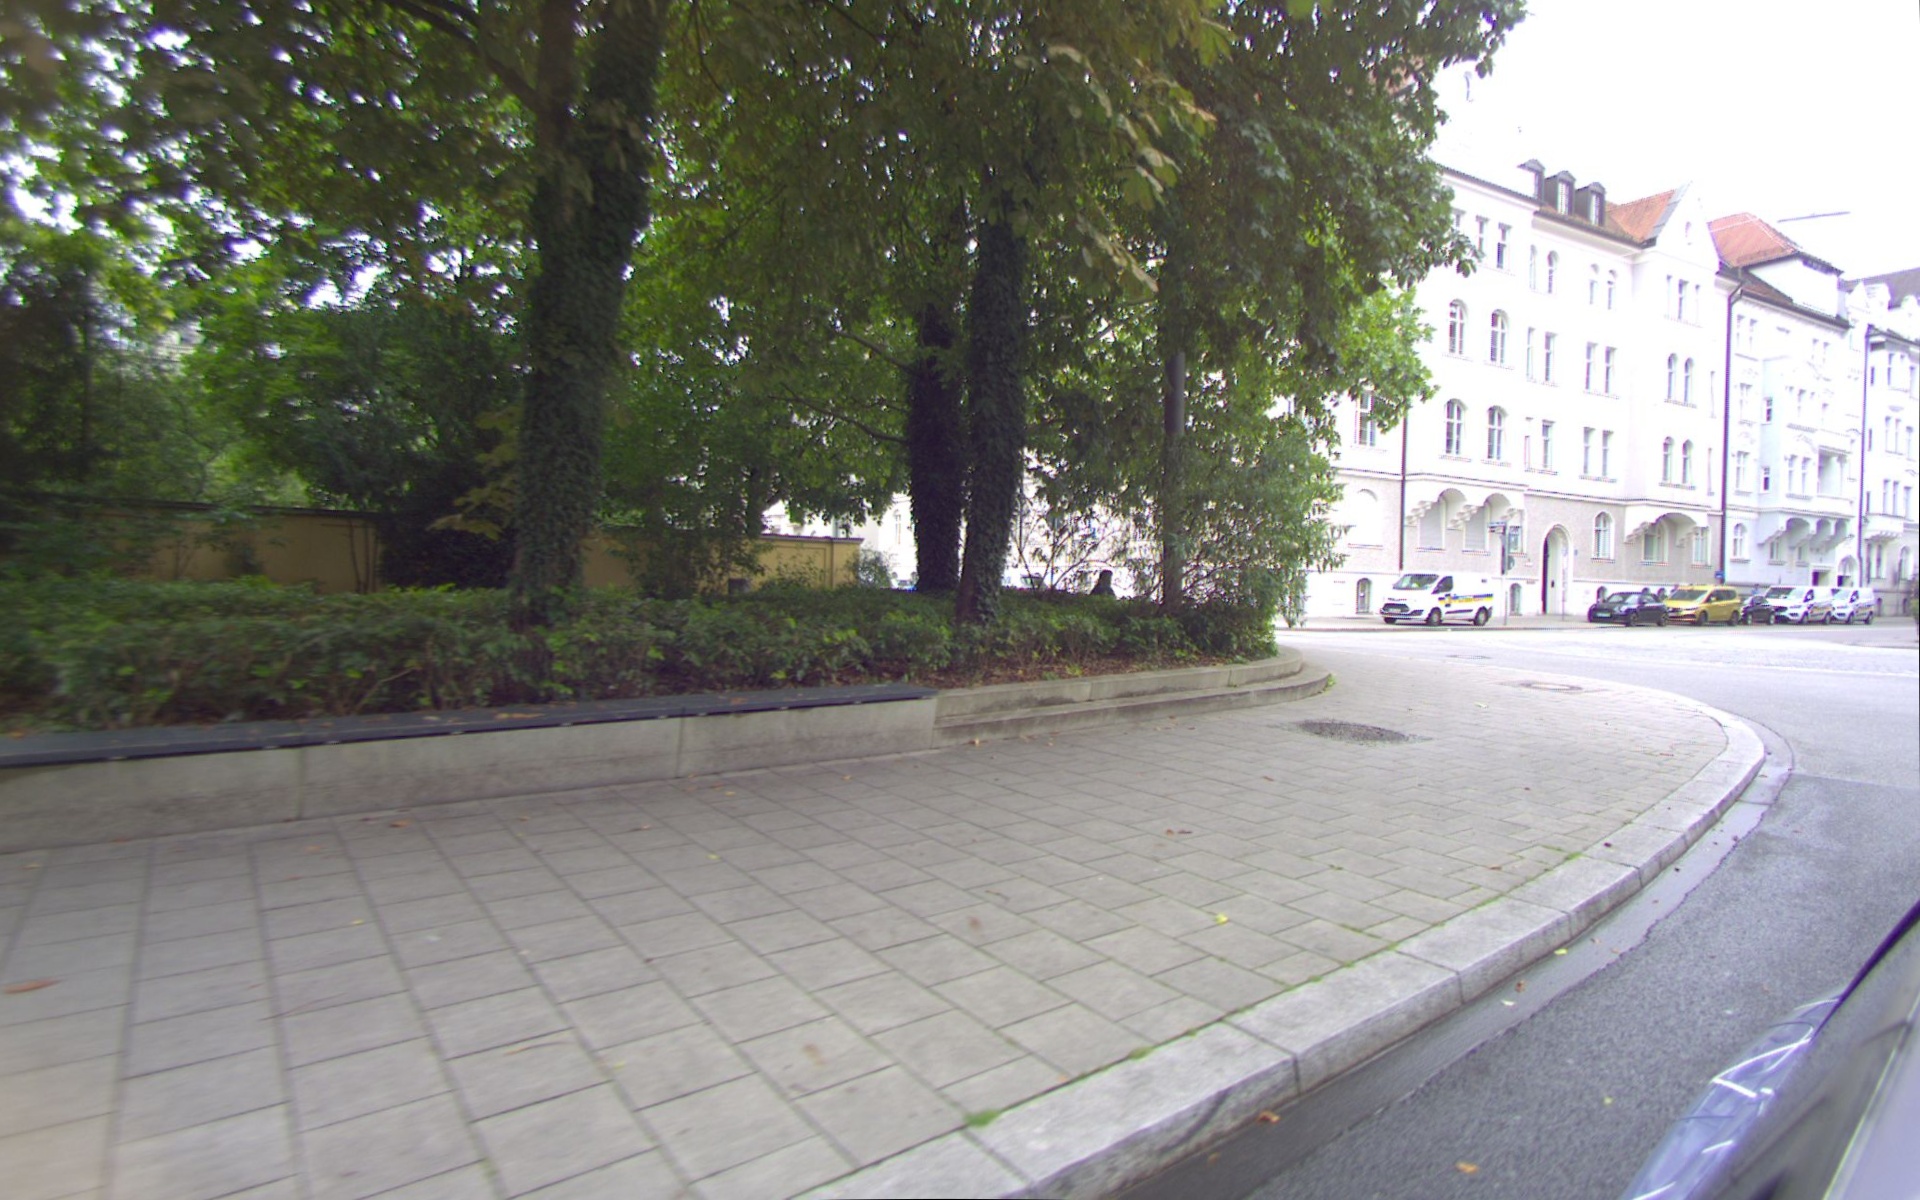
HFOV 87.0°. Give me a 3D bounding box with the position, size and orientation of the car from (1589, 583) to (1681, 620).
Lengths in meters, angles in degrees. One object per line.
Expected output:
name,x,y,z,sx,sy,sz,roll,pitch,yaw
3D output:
car,28.776,0.064,43.137,3.750,1.463,1.720,0,2,-30

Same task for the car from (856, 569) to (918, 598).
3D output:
car,-3.911,-0.871,53.505,1.762,1.422,3.845,0,2,-30

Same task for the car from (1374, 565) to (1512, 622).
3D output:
car,17.884,-0.232,37.393,5.267,1.945,1.947,0,2,-31

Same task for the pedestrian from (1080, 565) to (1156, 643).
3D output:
pedestrian,2.890,0.060,18.488,1.108,1.373,0.772,1,1,-29

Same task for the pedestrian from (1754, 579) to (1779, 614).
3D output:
pedestrian,45.750,-0.209,57.400,0.730,1.926,0.856,1,1,-27

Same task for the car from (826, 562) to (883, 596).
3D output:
car,-5.997,-1.215,57.174,1.762,1.805,3.845,0,2,-30

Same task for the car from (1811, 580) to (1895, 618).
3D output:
car,48.033,-0.049,54.419,4.781,1.942,2.002,0,2,-31

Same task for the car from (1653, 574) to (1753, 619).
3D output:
car,33.493,-0.168,45.618,4.480,1.942,2.002,0,2,-31

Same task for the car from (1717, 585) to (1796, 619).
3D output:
car,38.089,0.091,48.390,3.806,1.533,1.641,0,1,-29

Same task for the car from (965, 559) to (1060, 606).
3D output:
car,2.100,-0.749,41.707,1.855,1.817,4.256,0,2,-30

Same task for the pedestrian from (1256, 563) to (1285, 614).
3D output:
pedestrian,11.395,-0.425,37.097,0.918,1.823,0.993,1,1,20

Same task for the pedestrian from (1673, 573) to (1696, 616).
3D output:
pedestrian,34.828,-0.272,48.628,0.712,2.039,0.586,1,1,-28

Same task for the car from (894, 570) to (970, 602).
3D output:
car,-1.404,-0.710,48.883,1.855,1.422,4.256,0,2,-30

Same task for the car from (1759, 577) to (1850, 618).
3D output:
car,42.829,-0.142,51.286,4.788,1.942,2.002,0,2,-31
